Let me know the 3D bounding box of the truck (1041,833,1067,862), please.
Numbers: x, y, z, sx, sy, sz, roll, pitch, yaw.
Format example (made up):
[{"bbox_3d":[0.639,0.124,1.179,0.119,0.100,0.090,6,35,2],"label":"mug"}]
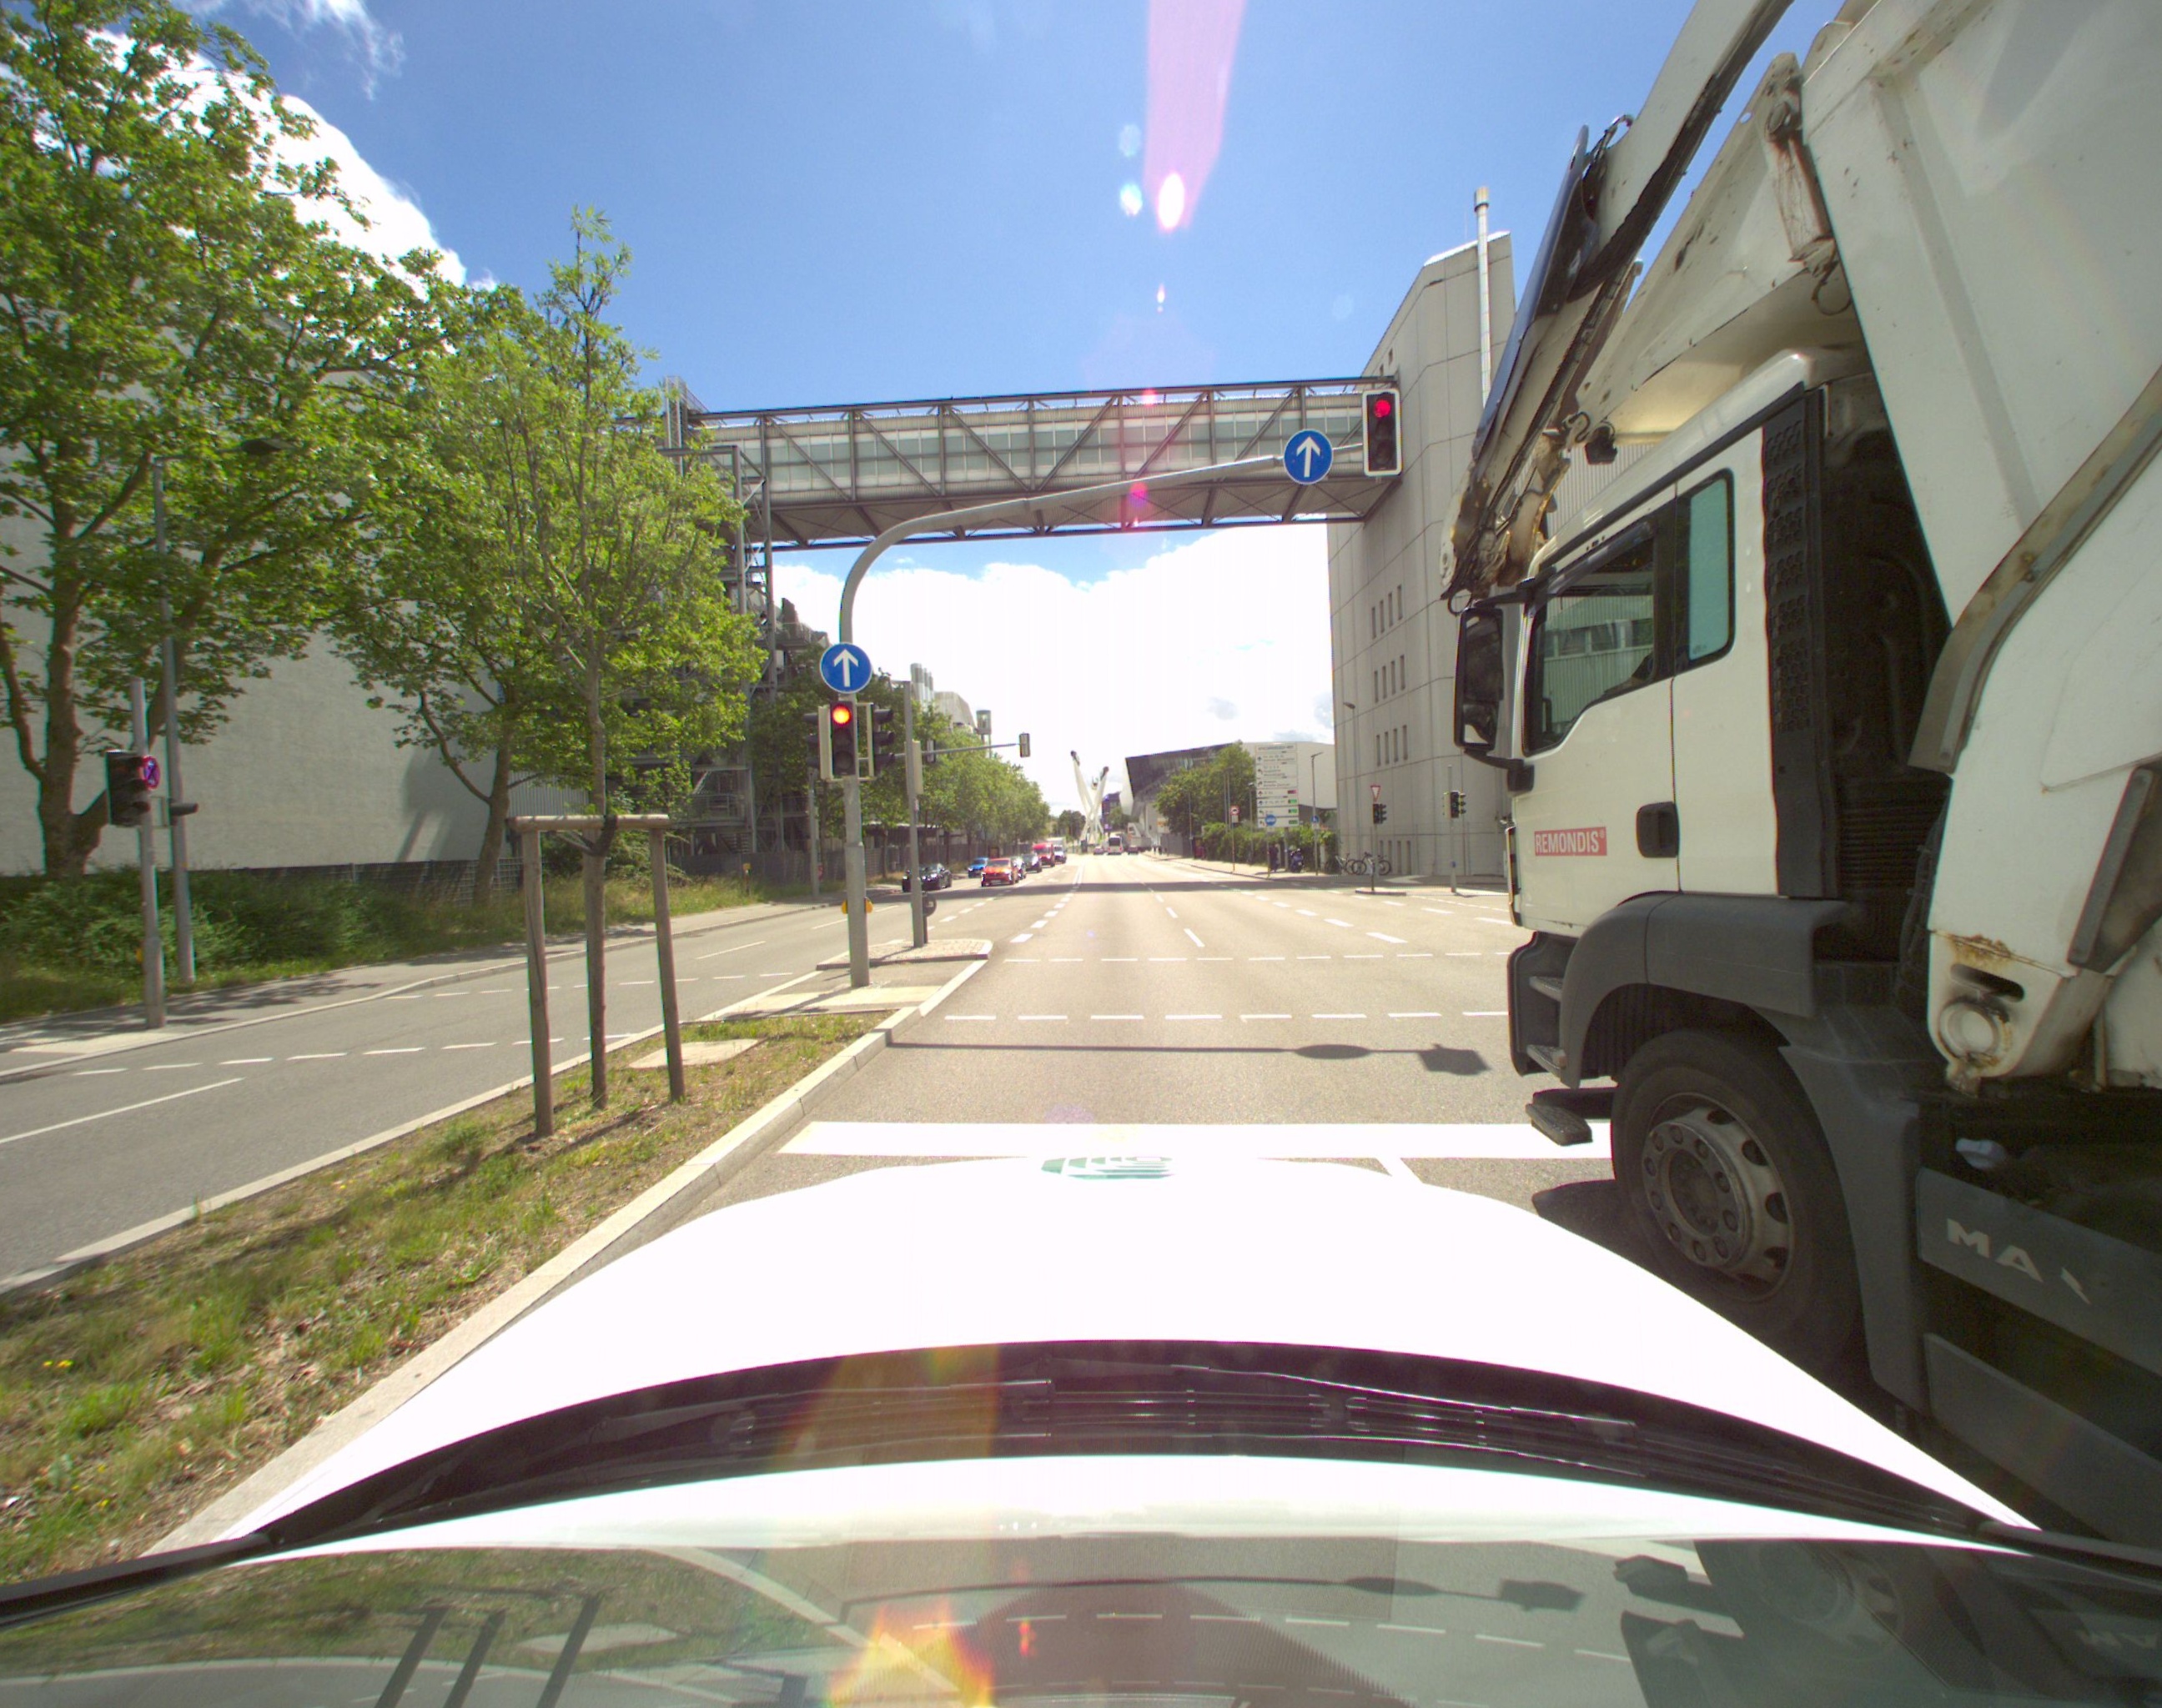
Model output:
[{"bbox_3d":[-3.163,-0.691,96.964,2.581,3.324,7.083,0,-1,3],"label":"truck"}]

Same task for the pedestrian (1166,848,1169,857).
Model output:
[{"bbox_3d":[14.235,-0.210,133.665,0.384,1.421,0.424,0,-1,2],"label":"pedestrian"}]

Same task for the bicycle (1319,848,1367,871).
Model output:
[{"bbox_3d":[13.083,0.278,40.704,2.196,1.086,0.480,-1,-1,37],"label":"bicycle"}]

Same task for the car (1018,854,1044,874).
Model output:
[{"bbox_3d":[-4.046,0.800,66.412,1.551,1.448,3.775,-4,0,3],"label":"car"}]

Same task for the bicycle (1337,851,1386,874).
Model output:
[{"bbox_3d":[13.555,0.402,39.428,2.196,1.086,0.480,-1,-1,37],"label":"bicycle"}]

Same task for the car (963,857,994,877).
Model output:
[{"bbox_3d":[-7.931,0.976,63.317,1.720,1.382,3.704,-4,0,3],"label":"car"}]

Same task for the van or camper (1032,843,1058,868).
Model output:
[{"bbox_3d":[-3.634,0.161,83.262,2.038,2.466,5.598,-1,0,3],"label":"van or camper"}]

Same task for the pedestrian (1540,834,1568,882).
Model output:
[{"bbox_3d":[18.073,0.142,31.132,0.704,1.793,0.646,-4,0,15],"label":"pedestrian"}]

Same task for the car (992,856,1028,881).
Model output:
[{"bbox_3d":[-4.517,0.881,52.286,1.762,1.420,3.704,-4,0,3],"label":"car"}]

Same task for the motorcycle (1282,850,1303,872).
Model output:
[{"bbox_3d":[11.650,0.398,44.894,0.418,1.166,1.951,0,-1,-9],"label":"motorcycle"}]

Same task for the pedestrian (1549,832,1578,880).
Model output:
[{"bbox_3d":[18.766,0.072,31.676,0.704,1.793,0.697,-4,0,17],"label":"pedestrian"}]

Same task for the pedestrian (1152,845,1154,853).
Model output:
[{"bbox_3d":[11.871,-0.840,133.906,0.384,1.421,0.424,0,-1,2],"label":"pedestrian"}]

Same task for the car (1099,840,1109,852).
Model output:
[{"bbox_3d":[4.847,-1.672,171.349,1.835,2.624,4.004,0,-1,4],"label":"car"}]

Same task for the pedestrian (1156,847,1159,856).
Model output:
[{"bbox_3d":[12.250,-0.399,130.078,0.384,1.421,0.424,0,-1,2],"label":"pedestrian"}]

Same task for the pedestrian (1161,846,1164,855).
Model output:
[{"bbox_3d":[13.012,-0.531,129.983,0.384,1.421,0.424,0,-1,2],"label":"pedestrian"}]

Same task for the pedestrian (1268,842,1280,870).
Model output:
[{"bbox_3d":[11.312,0.098,47.769,0.532,1.640,0.657,0,-1,-4],"label":"pedestrian"}]

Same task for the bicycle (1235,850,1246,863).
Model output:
[{"bbox_3d":[12.727,0.177,65.129,0.417,1.022,1.911,0,-1,-2],"label":"bicycle"}]

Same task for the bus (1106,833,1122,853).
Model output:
[{"bbox_3d":[6.155,-1.987,150.308,2.776,3.686,6.947,0,-1,3],"label":"bus"}]

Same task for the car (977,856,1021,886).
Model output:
[{"bbox_3d":[-4.373,0.901,44.004,1.762,1.420,3.704,-4,0,3],"label":"car"}]

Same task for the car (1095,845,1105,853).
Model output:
[{"bbox_3d":[3.439,-0.890,148.912,1.551,1.273,3.704,-4,0,3],"label":"car"}]

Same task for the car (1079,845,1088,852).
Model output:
[{"bbox_3d":[0.540,-1.066,155.920,1.551,1.273,3.704,-4,0,3],"label":"car"}]

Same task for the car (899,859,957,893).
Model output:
[{"bbox_3d":[-8.048,1.119,43.241,1.910,1.488,4.775,-4,0,3],"label":"car"}]

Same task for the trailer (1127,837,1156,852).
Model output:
[{"bbox_3d":[12.844,-1.970,172.137,3.291,2.995,10.429,-1,-1,21],"label":"trailer"}]

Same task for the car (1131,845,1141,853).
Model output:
[{"bbox_3d":[9.844,-0.878,146.071,1.551,1.273,3.704,-4,0,3],"label":"car"}]

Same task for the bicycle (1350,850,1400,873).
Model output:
[{"bbox_3d":[13.918,0.356,38.579,2.166,1.086,0.480,-1,-1,37],"label":"bicycle"}]
